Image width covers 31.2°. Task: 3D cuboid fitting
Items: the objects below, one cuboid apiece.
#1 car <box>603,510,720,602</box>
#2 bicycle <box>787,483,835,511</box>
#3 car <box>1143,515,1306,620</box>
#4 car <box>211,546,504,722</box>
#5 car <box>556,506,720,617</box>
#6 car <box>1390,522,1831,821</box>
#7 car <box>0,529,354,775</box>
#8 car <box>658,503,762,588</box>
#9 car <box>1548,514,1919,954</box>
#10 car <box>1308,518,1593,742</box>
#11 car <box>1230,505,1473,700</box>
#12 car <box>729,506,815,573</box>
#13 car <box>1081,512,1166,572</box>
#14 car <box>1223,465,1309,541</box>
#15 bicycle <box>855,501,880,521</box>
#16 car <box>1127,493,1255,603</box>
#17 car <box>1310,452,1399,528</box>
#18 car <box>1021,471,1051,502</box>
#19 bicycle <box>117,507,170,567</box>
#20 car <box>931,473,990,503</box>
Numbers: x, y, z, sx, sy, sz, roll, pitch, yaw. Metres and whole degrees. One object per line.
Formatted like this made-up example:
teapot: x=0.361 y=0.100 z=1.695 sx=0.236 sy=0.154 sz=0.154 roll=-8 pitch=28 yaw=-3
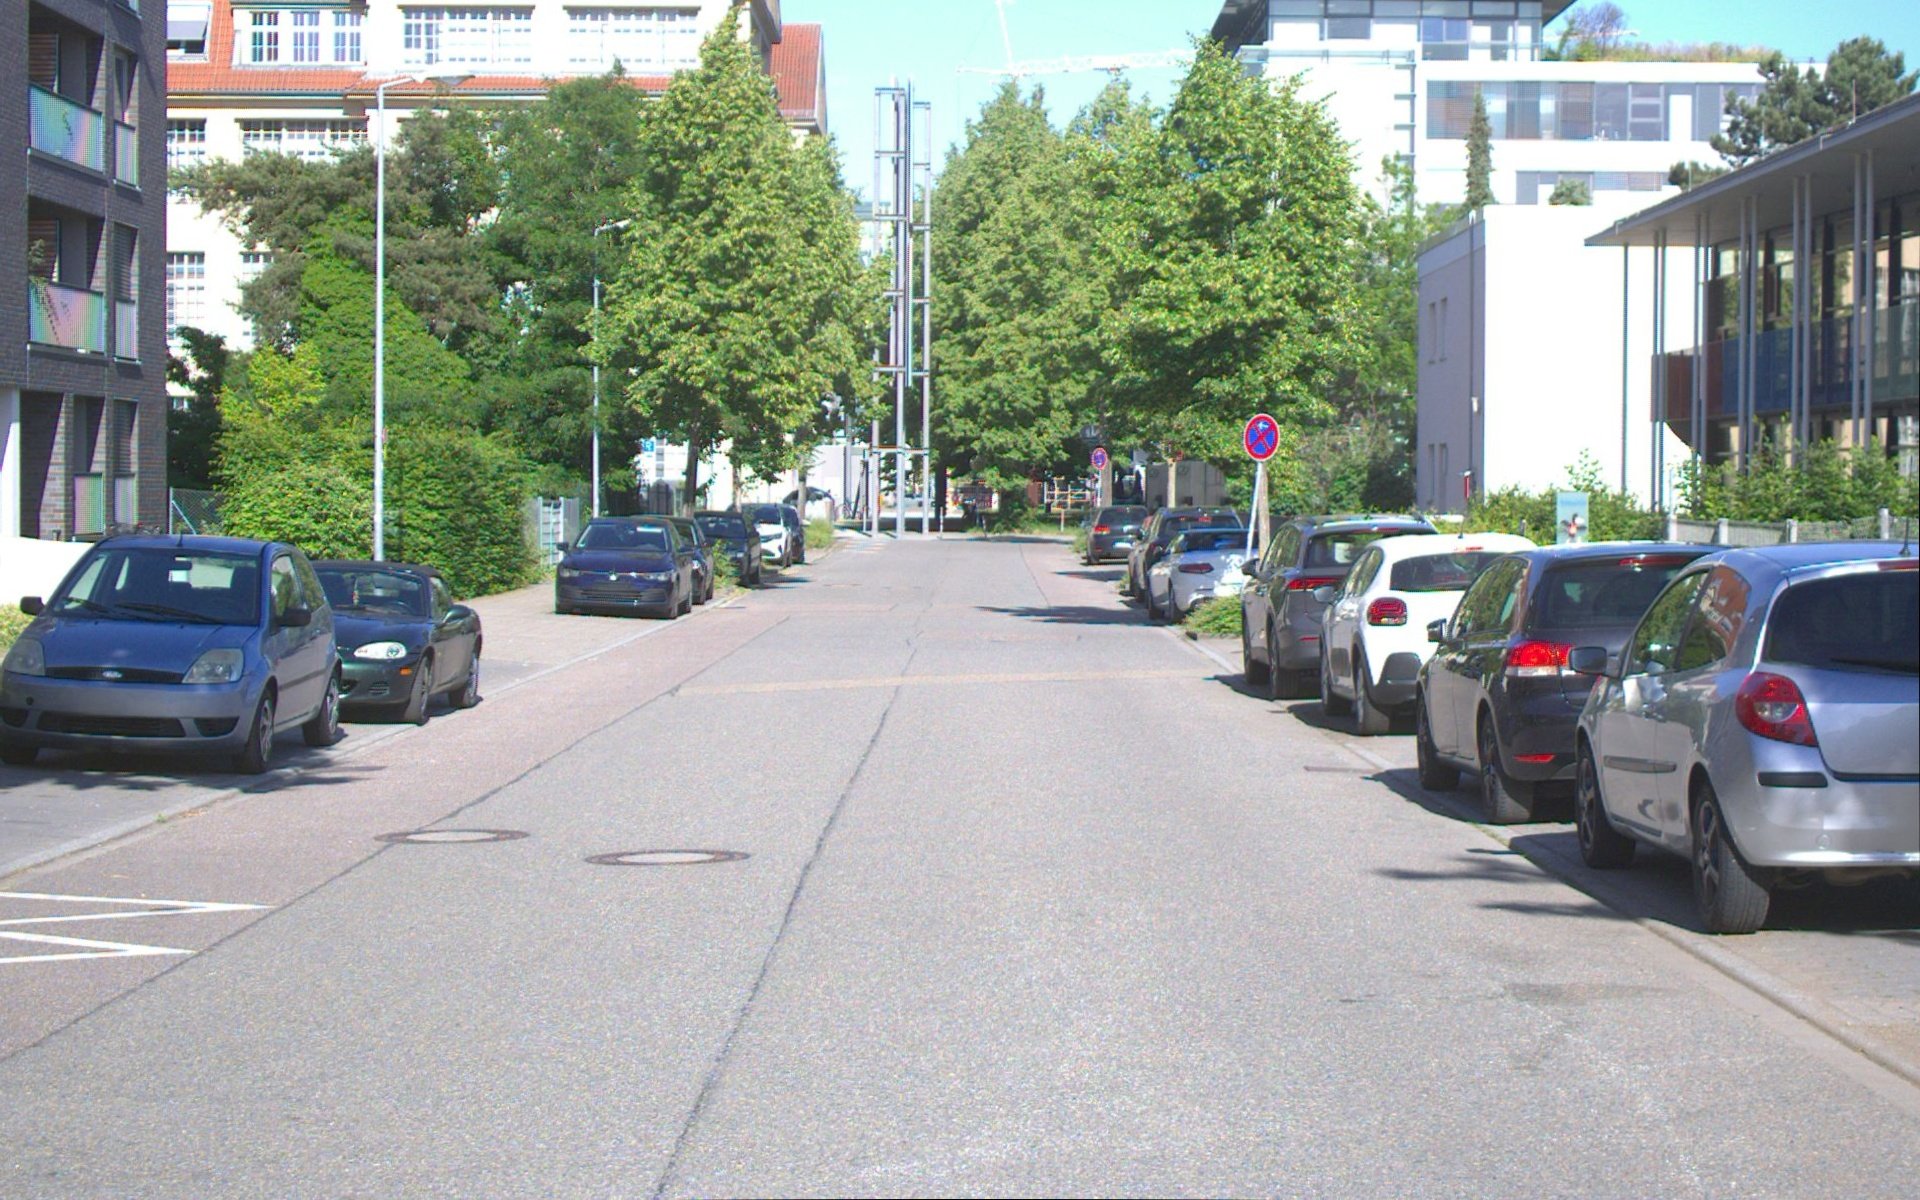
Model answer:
car: x=-5.014 y=-0.770 z=58.094 sx=1.630 sy=1.496 sz=3.578 roll=1 pitch=2 yaw=1
bicycle: x=-4.569 y=-3.169 z=105.319 sx=1.467 sy=0.839 sz=0.336 roll=0 pitch=2 yaw=-3
car: x=3.843 y=-0.496 z=50.646 sx=1.829 sy=1.417 sz=4.234 roll=-2 pitch=1 yaw=-3
car: x=-4.852 y=0.225 z=28.135 sx=1.599 sy=1.213 sz=3.875 roll=3 pitch=2 yaw=1
car: x=-4.784 y=-0.603 z=51.607 sx=1.762 sy=1.522 sz=4.000 roll=3 pitch=1 yaw=4
car: x=3.529 y=0.326 z=19.348 sx=1.687 sy=1.489 sz=4.078 roll=1 pitch=1 yaw=0
car: x=-5.140 y=0.279 z=22.800 sx=1.611 sy=1.460 sz=3.875 roll=0 pitch=2 yaw=-1
car: x=-4.880 y=-1.087 z=67.475 sx=1.694 sy=1.599 sz=3.942 roll=1 pitch=2 yaw=1
car: x=3.627 y=0.441 z=14.453 sx=1.662 sy=1.507 sz=4.001 roll=1 pitch=3 yaw=1
car: x=3.771 y=0.173 z=27.003 sx=1.680 sy=1.536 sz=3.849 roll=1 pitch=3 yaw=0
car: x=3.586 y=-0.036 z=32.172 sx=1.726 sy=1.646 sz=4.326 roll=-2 pitch=2 yaw=0
car: x=-4.400 y=-1.438 z=80.884 sx=1.777 sy=1.525 sz=4.000 roll=0 pitch=1 yaw=1
car: x=4.125 y=-1.490 z=87.166 sx=1.993 sy=1.481 sz=4.000 roll=0 pitch=1 yaw=1
car: x=8.305 y=-2.619 z=93.576 sx=2.024 sy=2.007 sz=4.000 roll=0 pitch=1 yaw=1
bicycle: x=-3.359 y=-3.250 z=125.268 sx=0.373 sy=0.681 sz=1.080 roll=-1 pitch=3 yaw=-36
car: x=3.836 y=-0.900 z=57.705 sx=1.821 sy=1.713 sz=4.120 roll=-2 pitch=2 yaw=0
car: x=10.707 y=-2.992 z=93.601 sx=1.993 sy=2.006 sz=4.000 roll=0 pitch=2 yaw=1
car: x=5.248 y=-7.843 z=237.434 sx=1.993 sy=2.006 sz=4.001 roll=1 pitch=3 yaw=1
bicycle: x=-12.100 y=-0.938 z=50.963 sx=0.253 sy=0.834 sz=1.774 roll=1 pitch=3 yaw=4
car: x=0.036 y=-7.715 z=236.178 sx=3.987 sy=2.006 sz=2.000 roll=1 pitch=3 yaw=2
